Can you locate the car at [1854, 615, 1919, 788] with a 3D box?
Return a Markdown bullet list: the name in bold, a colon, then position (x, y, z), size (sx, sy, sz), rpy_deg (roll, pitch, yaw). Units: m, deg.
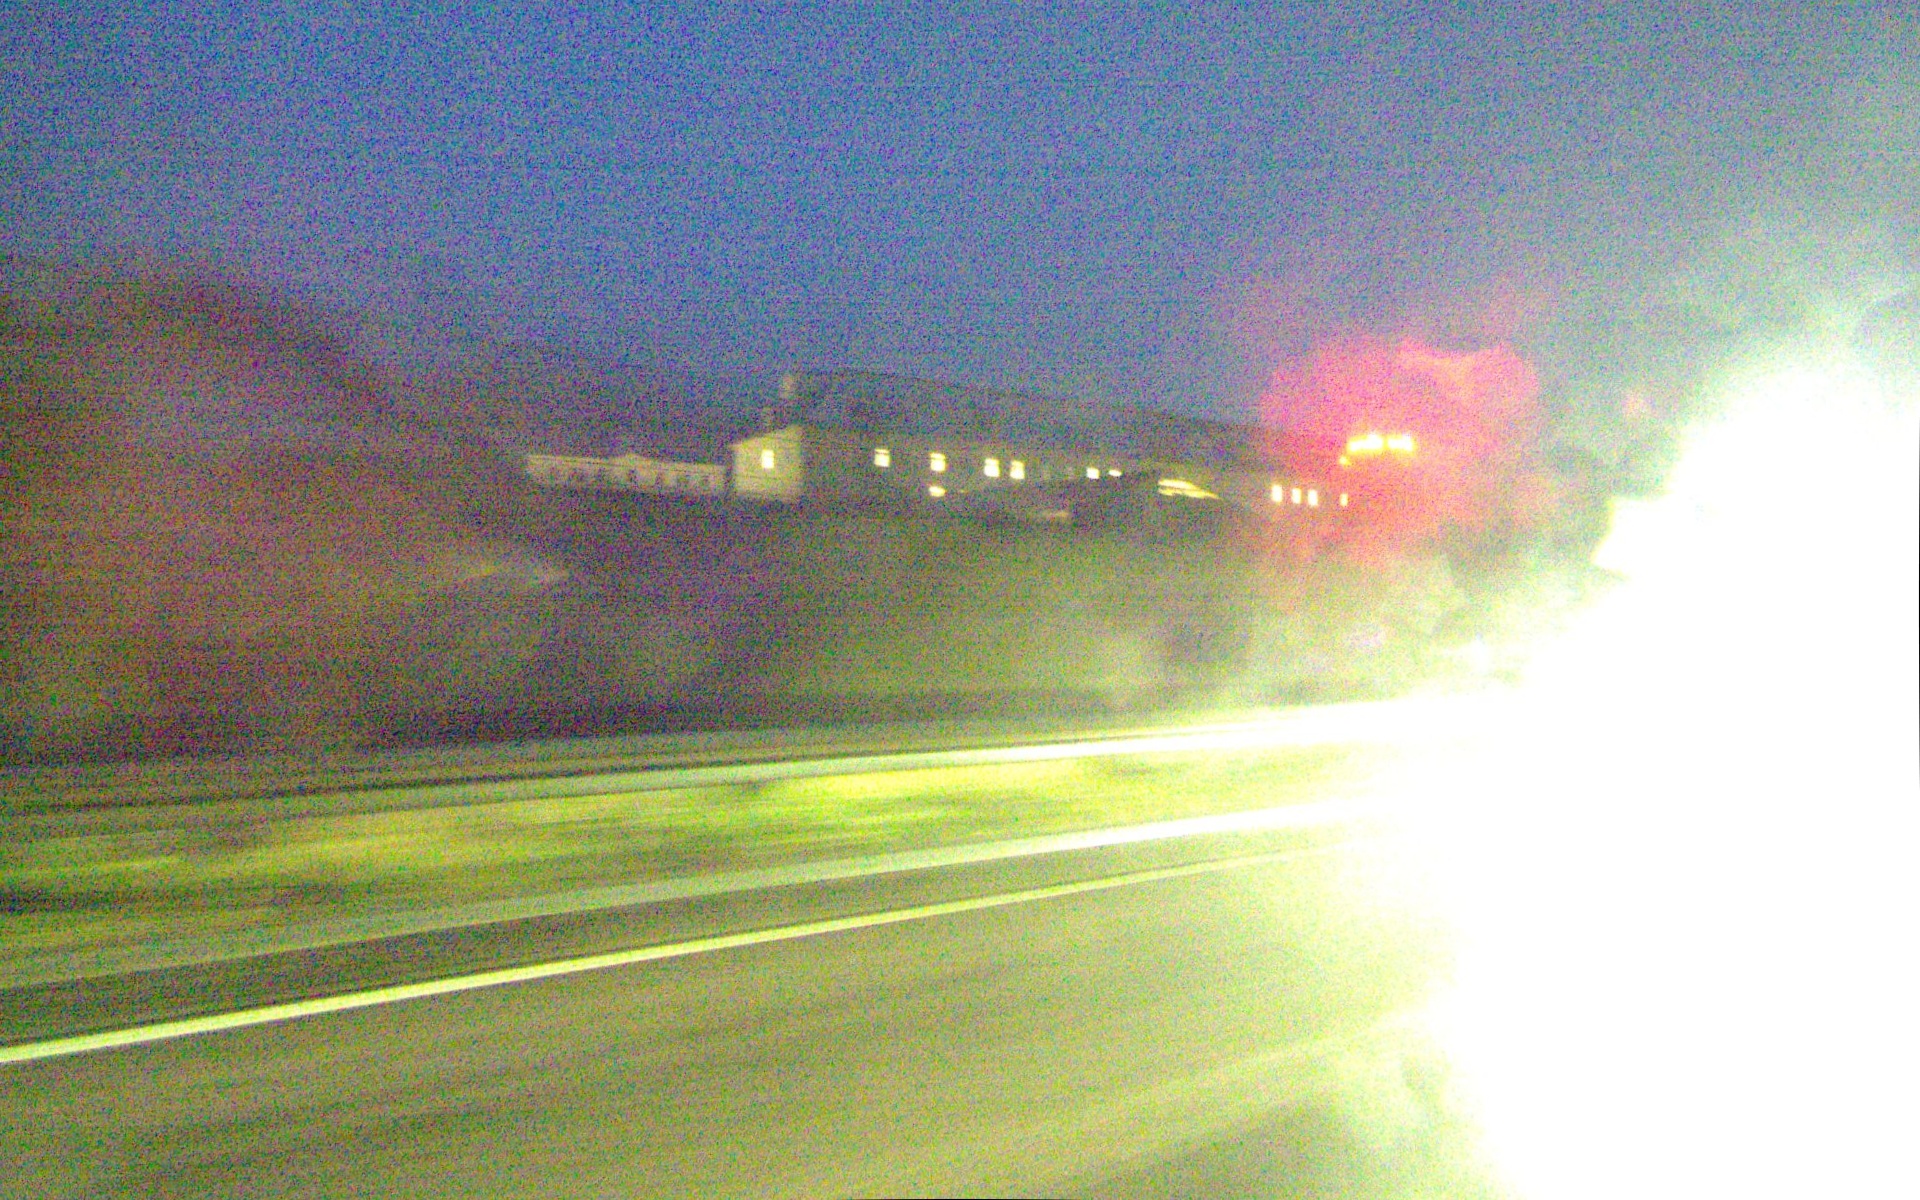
- **car**: position (10.259, 0.941, 9.481), size (3.641, 1.526, 1.693), rpy_deg (1, 0, -30)
